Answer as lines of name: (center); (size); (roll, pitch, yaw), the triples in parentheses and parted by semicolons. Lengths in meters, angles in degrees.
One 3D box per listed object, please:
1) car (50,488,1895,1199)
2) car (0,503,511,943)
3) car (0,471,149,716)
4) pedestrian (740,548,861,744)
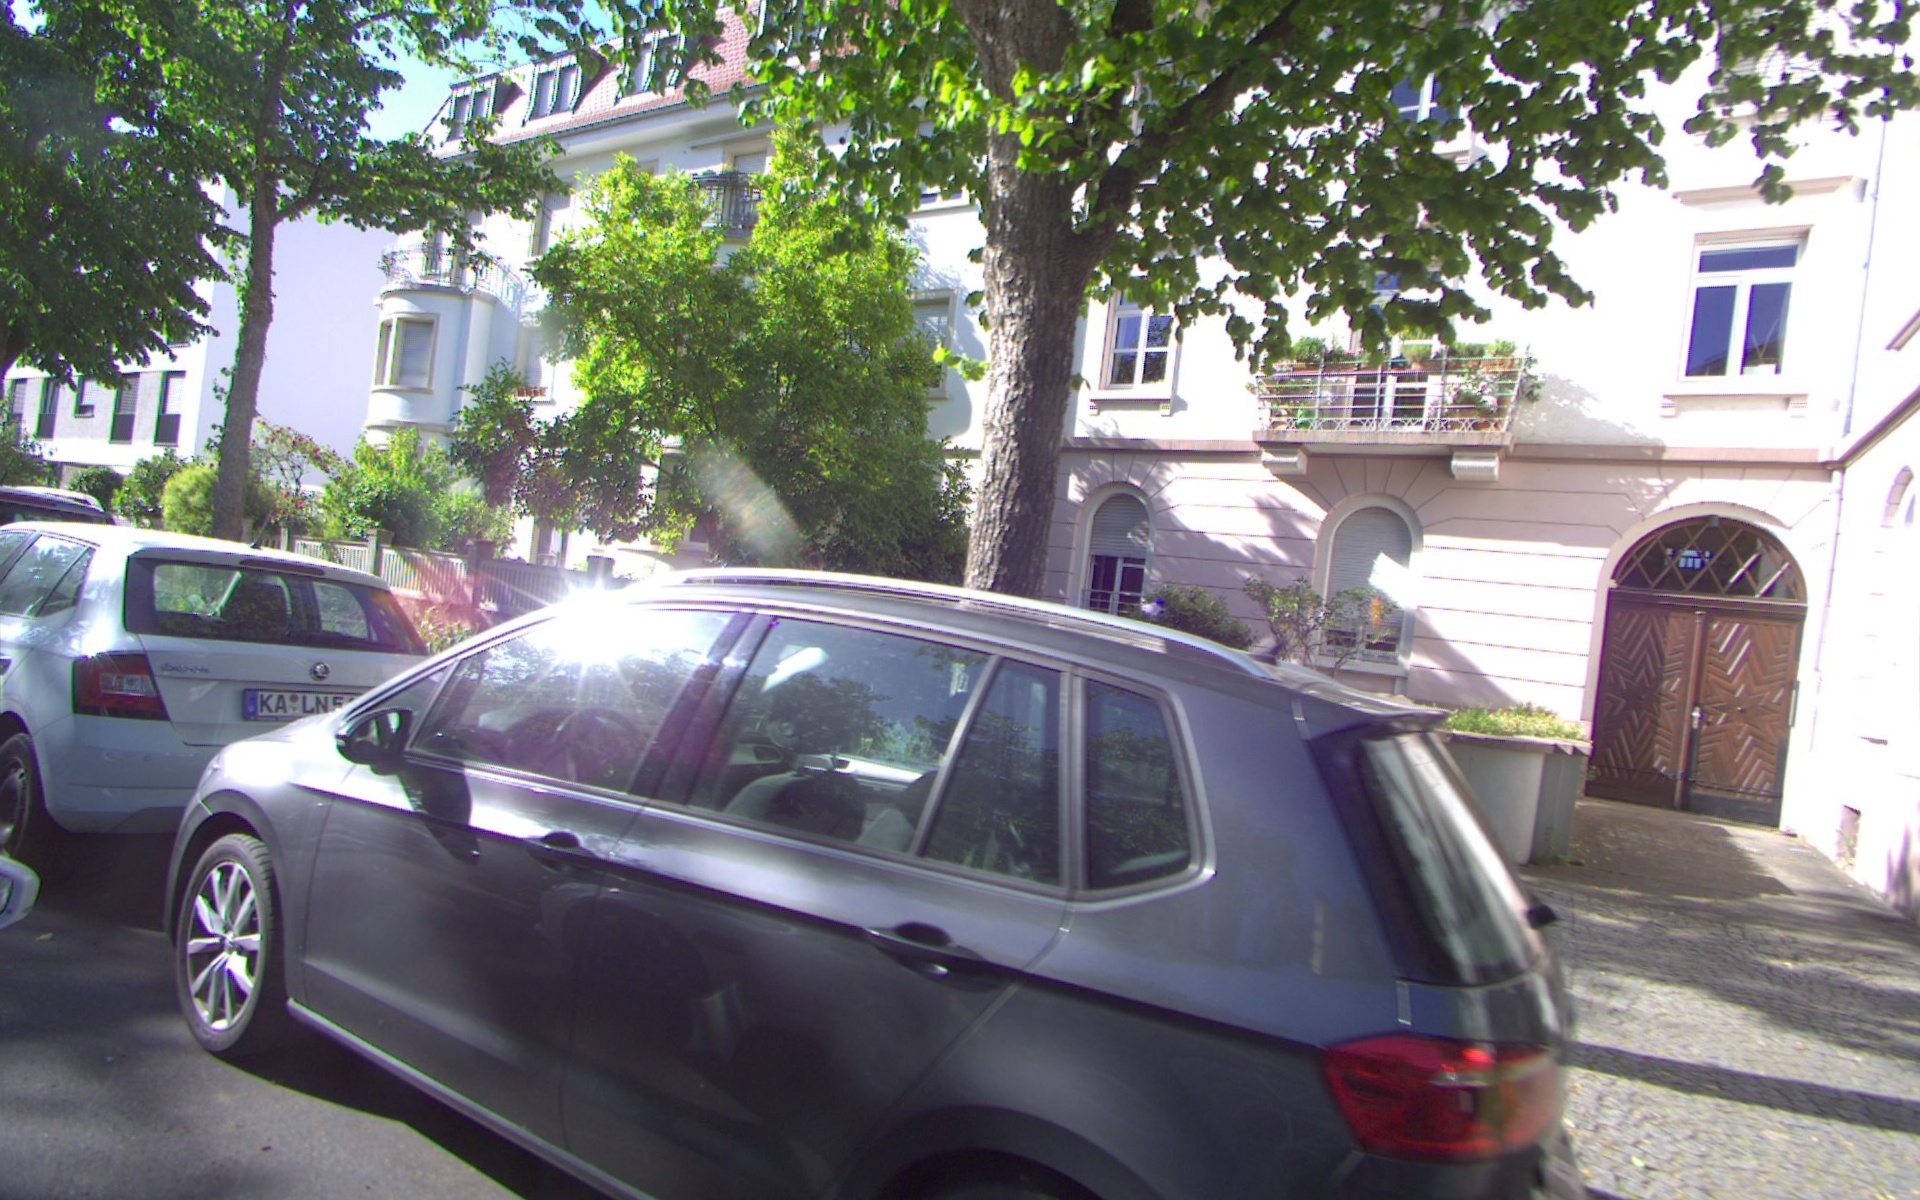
car: (-0.581, 0.746, 2.946); (4.459, 1.605, 1.689); (7, -3, 30)
car: (-4.446, 0.301, 5.247); (4.296, 1.442, 1.631); (7, 0, 32)
car: (-8.232, -0.231, 7.750); (3.781, 1.675, 1.652); (7, -1, 29)
pedestrian: (-1.569, 0.447, 9.926); (0.786, 1.797, 0.623); (7, 1, 32)
